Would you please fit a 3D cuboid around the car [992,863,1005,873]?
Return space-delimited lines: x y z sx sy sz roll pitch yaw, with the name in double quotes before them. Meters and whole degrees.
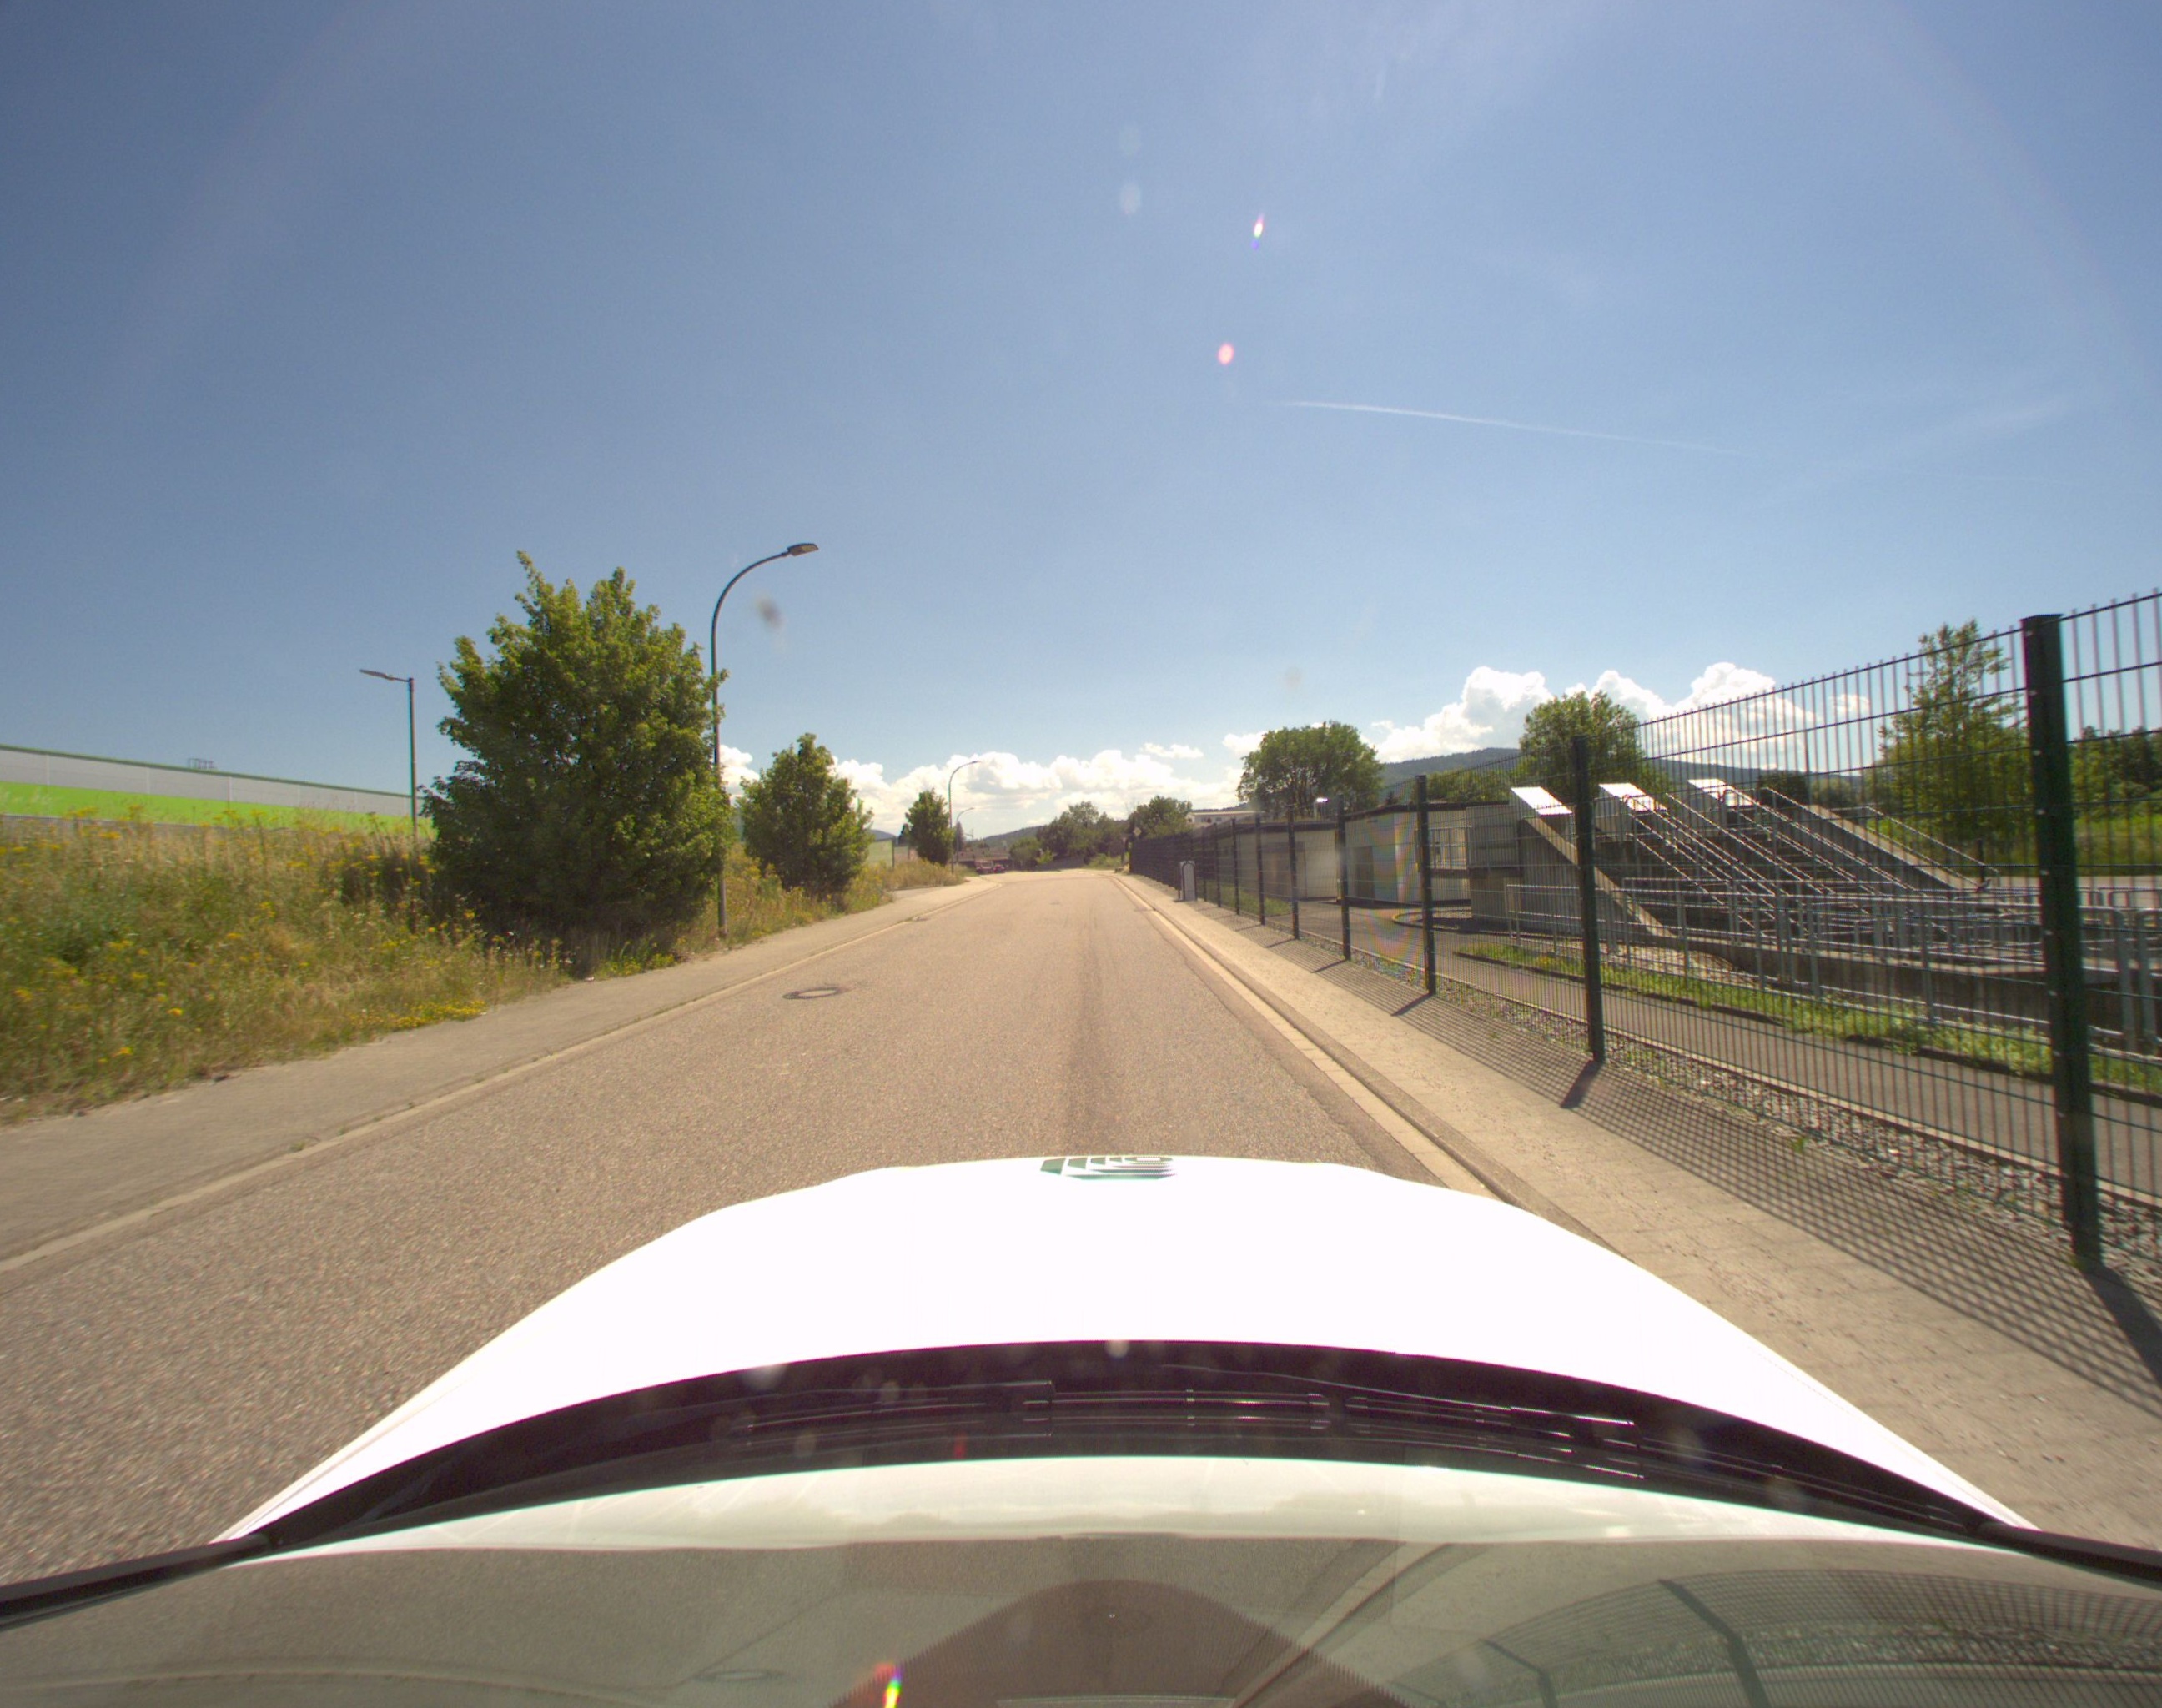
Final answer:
"car" -13.005 2.199 127.954 1.776 1.448 3.440 -1 0 -10

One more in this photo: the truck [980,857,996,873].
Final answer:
"truck" -17.395 2.077 152.087 2.683 2.772 6.068 -1 0 -10

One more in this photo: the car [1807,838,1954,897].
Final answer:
"car" 29.988 0.445 30.793 1.977 2.020 4.944 -1 0 18
